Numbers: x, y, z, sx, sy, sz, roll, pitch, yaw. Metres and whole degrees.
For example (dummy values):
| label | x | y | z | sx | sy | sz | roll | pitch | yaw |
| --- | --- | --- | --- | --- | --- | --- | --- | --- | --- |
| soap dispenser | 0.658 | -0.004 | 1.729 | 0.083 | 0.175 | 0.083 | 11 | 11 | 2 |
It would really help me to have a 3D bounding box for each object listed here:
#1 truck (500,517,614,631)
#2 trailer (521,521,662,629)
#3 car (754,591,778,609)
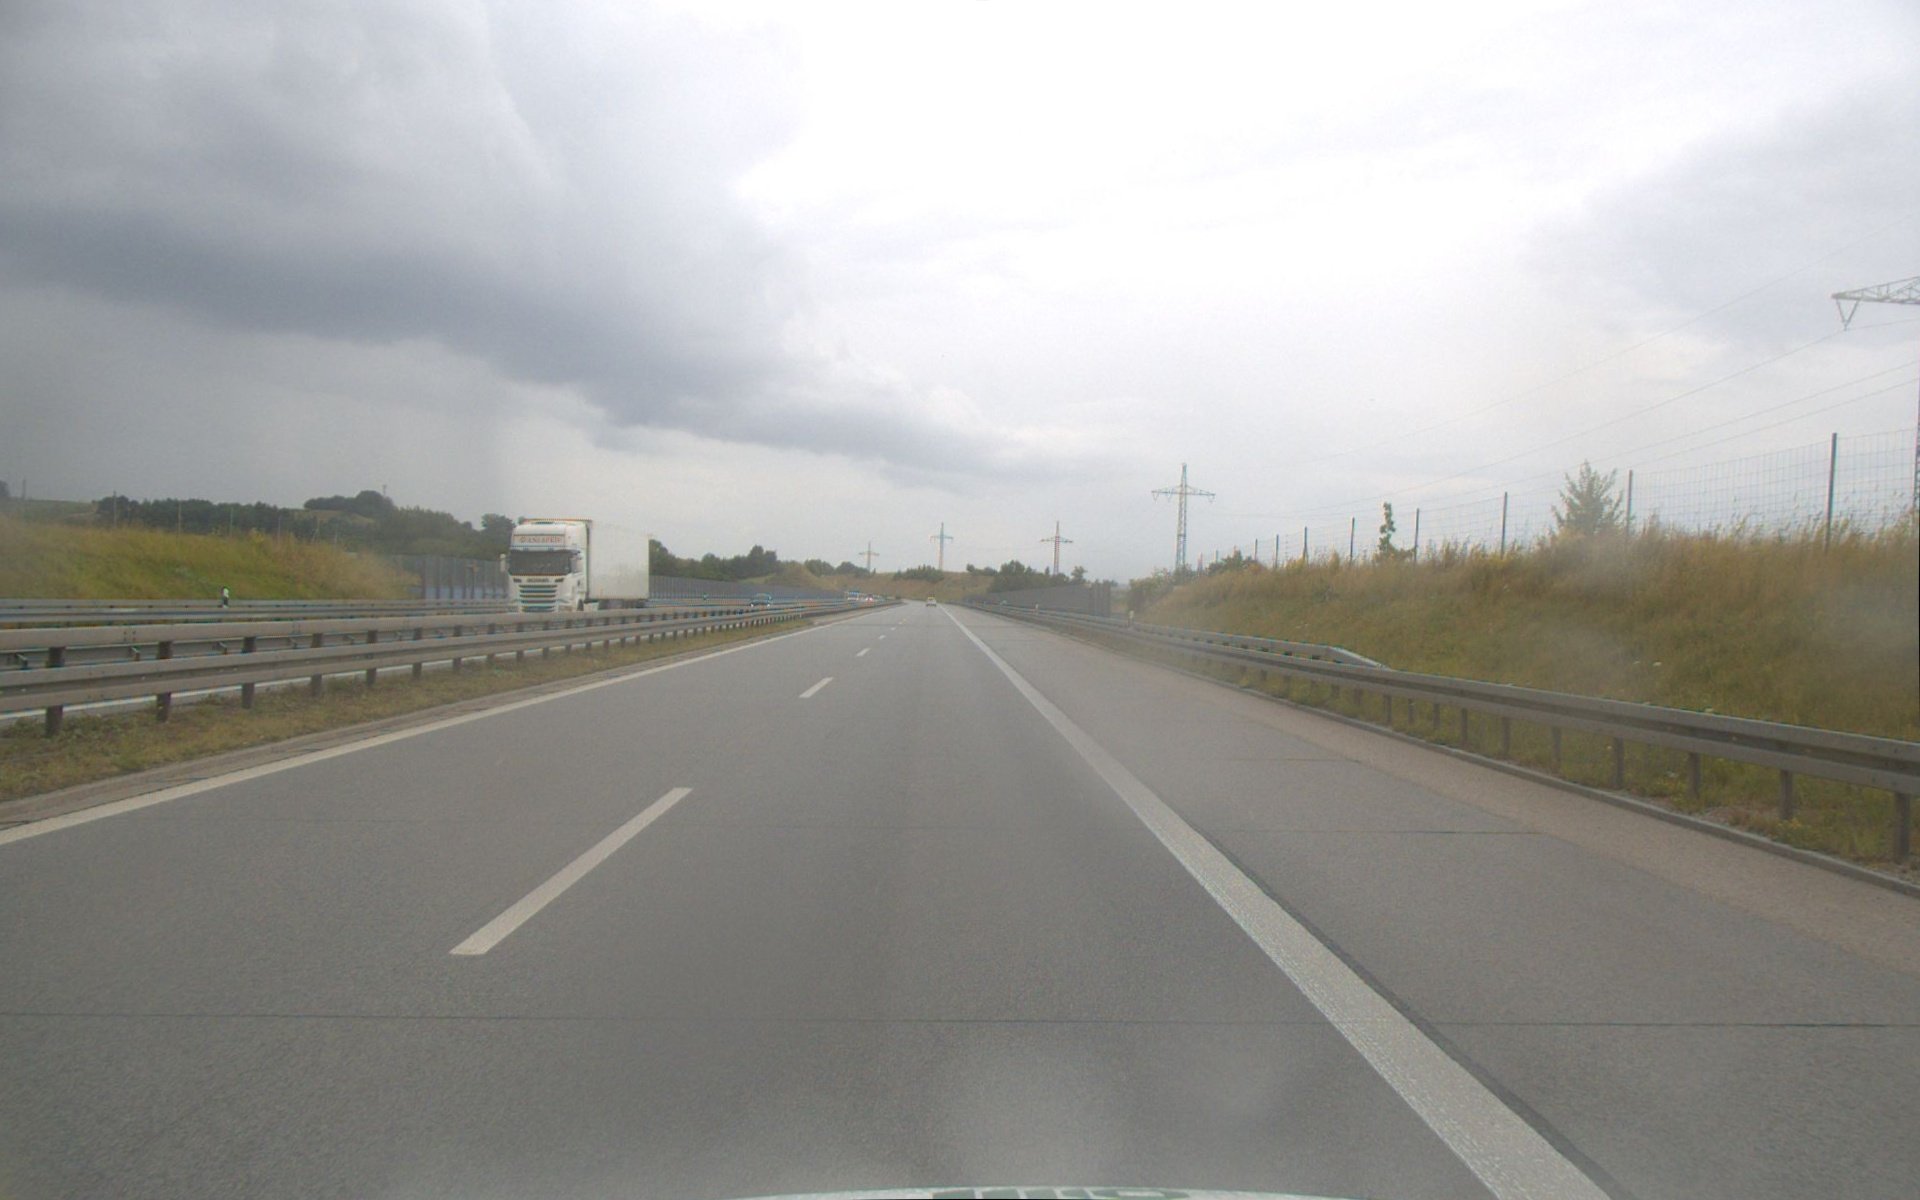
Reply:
| label | x | y | z | sx | sy | sz | roll | pitch | yaw |
| --- | --- | --- | --- | --- | --- | --- | --- | --- | --- |
| truck | -14.957 | -0.935 | 61.817 | 2.892 | 3.994 | 5.517 | 1 | 0 | -1 |
| trailer | -15.092 | -0.948 | 69.080 | 2.858 | 3.994 | 14.271 | 1 | 0 | -1 |
| car | -16.659 | -0.014 | 141.883 | 1.598 | 1.434 | 3.999 | 1 | 0 | -1 |
